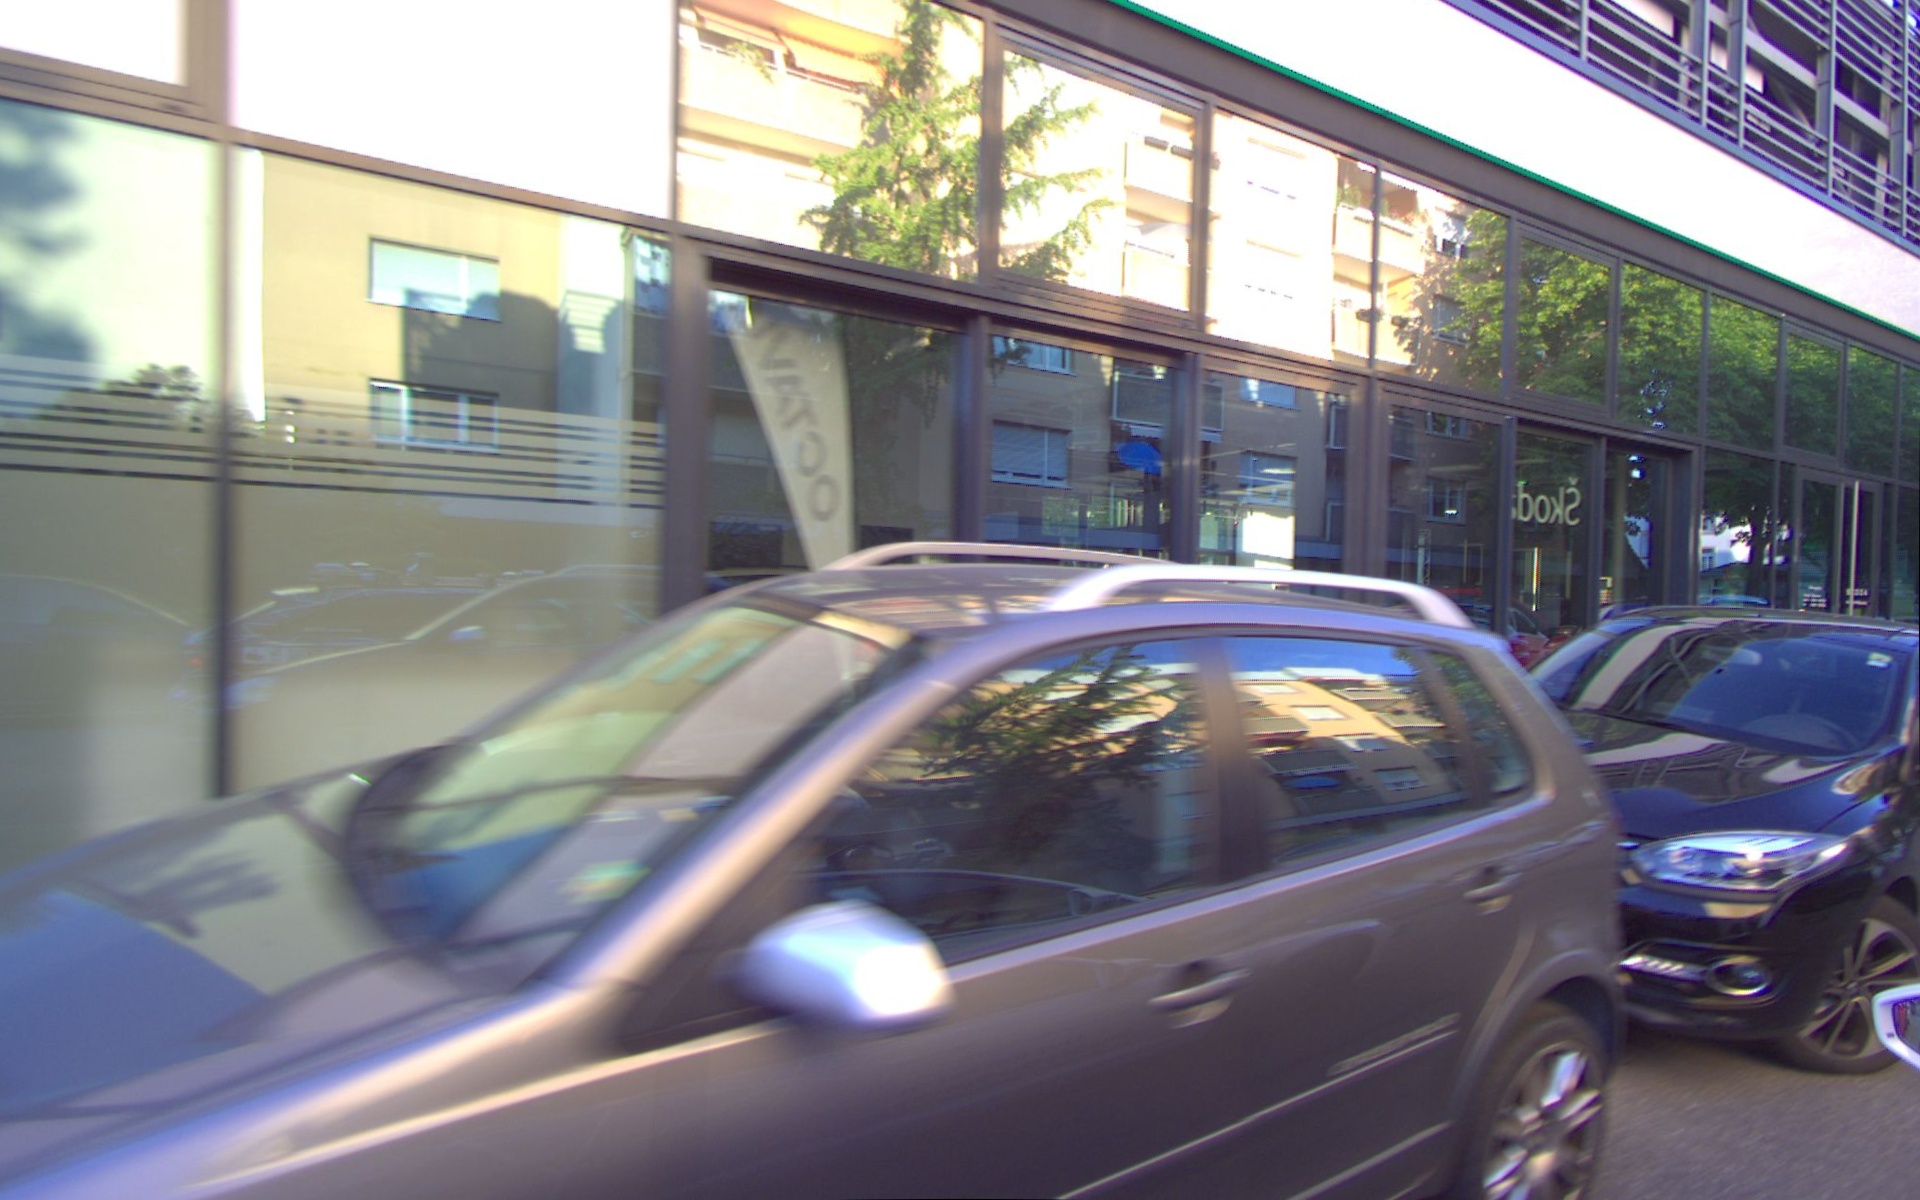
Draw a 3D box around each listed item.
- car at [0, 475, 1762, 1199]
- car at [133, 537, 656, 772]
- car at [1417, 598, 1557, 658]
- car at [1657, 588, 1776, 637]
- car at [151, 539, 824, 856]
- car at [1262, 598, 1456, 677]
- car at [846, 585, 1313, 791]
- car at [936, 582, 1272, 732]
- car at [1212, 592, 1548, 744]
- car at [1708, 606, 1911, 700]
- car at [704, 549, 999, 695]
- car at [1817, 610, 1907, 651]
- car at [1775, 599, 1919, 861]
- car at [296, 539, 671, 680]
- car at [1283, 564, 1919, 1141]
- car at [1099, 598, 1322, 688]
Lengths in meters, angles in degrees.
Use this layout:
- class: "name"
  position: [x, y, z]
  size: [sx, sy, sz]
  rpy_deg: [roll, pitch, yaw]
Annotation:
- class: "car"
  position: [-0.164, 0.609, 2.235]
  size: [3.839, 1.518, 1.653]
  rpy_deg: [1, 6, -30]
- class: "car"
  position: [-4.767, 0.387, 8.879]
  size: [3.695, 1.681, 1.688]
  rpy_deg: [0, 1, -31]
- class: "car"
  position: [12.181, 0.597, 23.206]
  size: [3.176, 1.272, 1.413]
  rpy_deg: [0, 1, -31]
- class: "car"
  position: [21.064, 0.323, 27.952]
  size: [3.485, 1.272, 1.413]
  rpy_deg: [0, 1, -31]
- class: "car"
  position: [-3.026, 0.515, 6.971]
  size: [3.832, 1.672, 1.584]
  rpy_deg: [0, 1, -32]
- class: "car"
  position: [8.162, 0.707, 20.466]
  size: [3.875, 1.453, 1.688]
  rpy_deg: [0, 1, -31]
- class: "car"
  position: [1.185, 0.655, 9.295]
  size: [4.144, 1.535, 1.688]
  rpy_deg: [0, 1, -31]
- class: "car"
  position: [1.950, 0.642, 13.147]
  size: [4.276, 1.681, 1.688]
  rpy_deg: [0, 1, -31]
- class: "car"
  position: [5.042, 0.698, 11.948]
  size: [3.947, 1.535, 1.689]
  rpy_deg: [0, 1, -31]
- class: "car"
  position: [15.271, 0.882, 18.036]
  size: [3.738, 1.493, 1.688]
  rpy_deg: [0, 1, -31]
- class: "car"
  position: [-1.515, 0.277, 14.422]
  size: [3.875, 1.840, 1.688]
  rpy_deg: [0, 1, -31]
- class: "car"
  position: [30.145, 0.984, 33.553]
  size: [3.176, 1.272, 1.351]
  rpy_deg: [0, 1, -31]
- class: "car"
  position: [7.897, 0.823, 7.094]
  size: [4.154, 1.618, 1.928]
  rpy_deg: [0, 1, -29]
- class: "car"
  position: [-5.657, 0.098, 12.155]
  size: [3.875, 1.453, 1.688]
  rpy_deg: [0, 1, -31]
- class: "car"
  position: [3.499, 0.671, 4.446]
  size: [3.962, 1.422, 1.718]
  rpy_deg: [0, 6, -32]
- class: "car"
  position: [4.571, 0.719, 18.209]
  size: [3.875, 1.453, 1.688]
  rpy_deg: [0, 1, -31]
